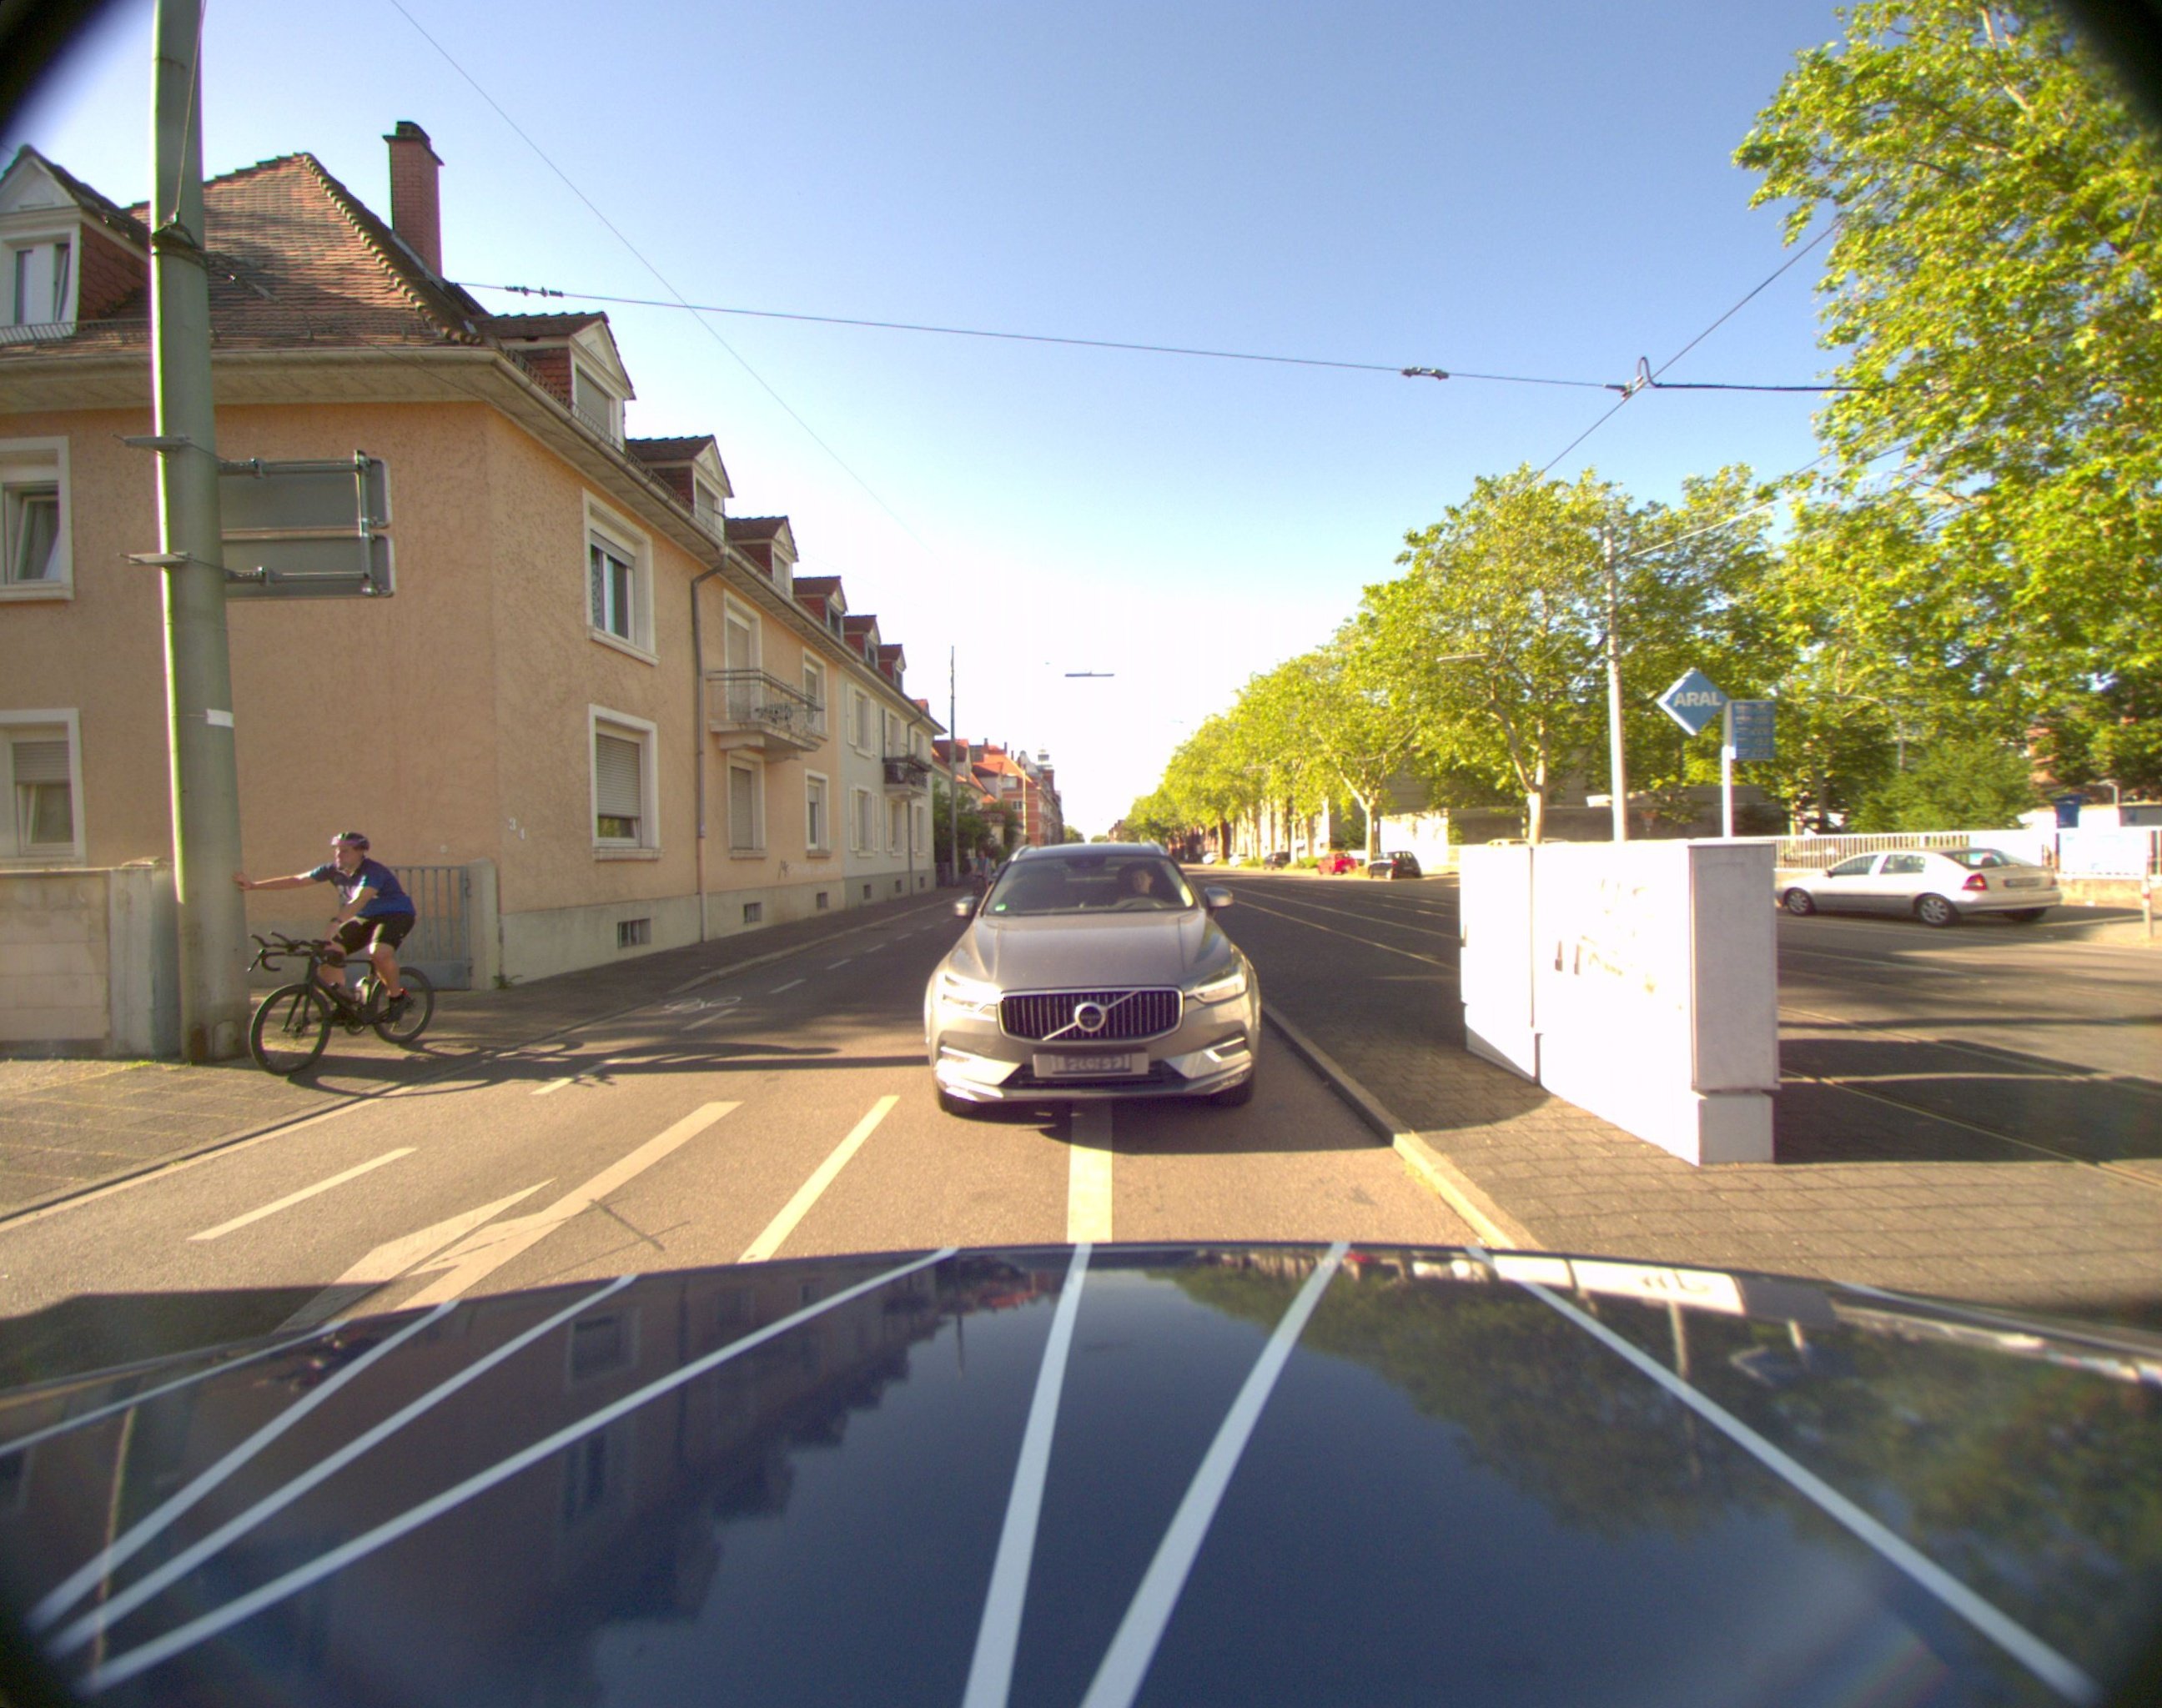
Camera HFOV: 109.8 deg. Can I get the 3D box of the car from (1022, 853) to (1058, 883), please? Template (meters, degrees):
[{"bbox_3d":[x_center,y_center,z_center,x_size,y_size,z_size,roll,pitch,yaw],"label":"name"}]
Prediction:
[{"bbox_3d":[-2.581,0.858,48.491,1.793,1.673,3.814,-3,0,2],"label":"car"}]

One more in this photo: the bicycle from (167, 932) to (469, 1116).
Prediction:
[{"bbox_3d":[-5.997,1.267,6.149,0.592,1.062,1.775,4,0,1],"label":"bicycle"}]

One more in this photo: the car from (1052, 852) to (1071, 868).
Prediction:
[{"bbox_3d":[-2.146,0.641,85.375,1.793,1.673,3.814,-3,0,2],"label":"car"}]

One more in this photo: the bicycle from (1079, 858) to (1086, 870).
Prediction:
[{"bbox_3d":[0.146,1.022,76.838,0.685,1.098,1.806,-2,1,1],"label":"bicycle"}]

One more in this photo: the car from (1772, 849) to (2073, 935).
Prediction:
[{"bbox_3d":[16.228,0.643,14.987,1.695,1.395,3.813,-3,0,1],"label":"car"}]

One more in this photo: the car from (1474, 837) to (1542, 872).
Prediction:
[{"bbox_3d":[21.550,0.018,38.479,1.599,1.606,3.304,-2,0,1],"label":"car"}]

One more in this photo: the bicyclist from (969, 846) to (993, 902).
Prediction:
[{"bbox_3d":[-3.498,0.706,26.640,0.519,1.922,0.947,-2,-2,11],"label":"bicyclist"}]

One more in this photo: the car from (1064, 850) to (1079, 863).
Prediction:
[{"bbox_3d":[-1.288,0.373,107.108,1.793,1.673,3.814,-3,0,2],"label":"car"}]

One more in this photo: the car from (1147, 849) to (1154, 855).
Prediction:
[{"bbox_3d":[19.665,-0.610,214.813,1.695,1.775,3.749,-3,0,1],"label":"car"}]

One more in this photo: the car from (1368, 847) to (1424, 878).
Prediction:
[{"bbox_3d":[16.888,0.431,40.901,1.599,1.498,3.304,-3,0,1],"label":"car"}]

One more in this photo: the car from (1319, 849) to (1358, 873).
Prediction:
[{"bbox_3d":[16.881,0.440,49.872,1.599,1.498,2.622,-3,0,1],"label":"car"}]

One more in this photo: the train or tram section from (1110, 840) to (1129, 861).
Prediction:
[{"bbox_3d":[7.028,-0.603,139.945,2.717,3.643,12.653,-1,0,0],"label":"train or tram section"}]

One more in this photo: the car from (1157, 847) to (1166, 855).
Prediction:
[{"bbox_3d":[20.248,-0.716,191.419,1.695,1.775,3.749,-3,0,1],"label":"car"}]

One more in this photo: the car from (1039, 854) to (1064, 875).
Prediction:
[{"bbox_3d":[-2.547,0.865,67.081,1.793,1.673,3.814,-3,0,2],"label":"car"}]

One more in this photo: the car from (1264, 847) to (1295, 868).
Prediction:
[{"bbox_3d":[17.142,0.279,65.894,1.695,1.648,3.749,-3,0,1],"label":"car"}]

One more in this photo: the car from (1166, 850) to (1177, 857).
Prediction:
[{"bbox_3d":[19.275,-0.184,161.882,1.695,1.440,3.749,-3,0,1],"label":"car"}]

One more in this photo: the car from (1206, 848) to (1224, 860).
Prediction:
[{"bbox_3d":[17.798,0.033,100.720,1.695,1.440,3.749,-3,0,1],"label":"car"}]

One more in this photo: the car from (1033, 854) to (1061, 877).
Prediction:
[{"bbox_3d":[-2.716,0.891,61.036,1.793,1.673,3.814,-3,0,2],"label":"car"}]

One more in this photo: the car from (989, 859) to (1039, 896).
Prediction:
[{"bbox_3d":[-3.219,1.088,37.053,1.695,1.571,3.815,-3,0,5],"label":"car"}]

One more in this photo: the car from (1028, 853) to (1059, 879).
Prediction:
[{"bbox_3d":[-2.628,0.840,54.011,1.793,1.673,3.814,-3,0,2],"label":"car"}]

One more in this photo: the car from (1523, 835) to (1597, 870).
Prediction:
[{"bbox_3d":[23.883,-0.077,38.031,1.599,1.583,3.304,-2,0,1],"label":"car"}]

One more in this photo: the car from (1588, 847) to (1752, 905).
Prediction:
[{"bbox_3d":[16.414,0.563,21.422,1.695,1.395,3.749,-3,0,1],"label":"car"}]

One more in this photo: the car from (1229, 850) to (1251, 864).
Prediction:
[{"bbox_3d":[17.468,0.299,83.549,1.695,1.440,3.749,-3,0,1],"label":"car"}]

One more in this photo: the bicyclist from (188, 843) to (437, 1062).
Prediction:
[{"bbox_3d":[-6.194,0.746,6.194,1.051,1.599,0.885,4,0,1],"label":"bicyclist"}]

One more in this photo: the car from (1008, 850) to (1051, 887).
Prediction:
[{"bbox_3d":[-2.821,0.746,42.826,1.793,1.828,5.149,-3,0,2],"label":"car"}]

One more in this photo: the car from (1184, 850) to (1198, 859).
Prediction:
[{"bbox_3d":[18.205,0.080,125.528,1.695,1.440,3.749,-3,0,1],"label":"car"}]

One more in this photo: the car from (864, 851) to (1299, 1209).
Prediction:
[{"bbox_3d":[0.033,0.829,5.759,1.998,1.628,4.306,-2,0,1],"label":"car"}]

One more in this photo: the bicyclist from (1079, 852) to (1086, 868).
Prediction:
[{"bbox_3d":[0.129,0.575,76.840,0.685,1.611,0.855,-2,1,1],"label":"bicyclist"}]

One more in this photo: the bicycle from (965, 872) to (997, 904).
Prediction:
[{"bbox_3d":[-3.492,1.190,26.639,0.519,1.084,1.798,-1,-2,11],"label":"bicycle"}]
